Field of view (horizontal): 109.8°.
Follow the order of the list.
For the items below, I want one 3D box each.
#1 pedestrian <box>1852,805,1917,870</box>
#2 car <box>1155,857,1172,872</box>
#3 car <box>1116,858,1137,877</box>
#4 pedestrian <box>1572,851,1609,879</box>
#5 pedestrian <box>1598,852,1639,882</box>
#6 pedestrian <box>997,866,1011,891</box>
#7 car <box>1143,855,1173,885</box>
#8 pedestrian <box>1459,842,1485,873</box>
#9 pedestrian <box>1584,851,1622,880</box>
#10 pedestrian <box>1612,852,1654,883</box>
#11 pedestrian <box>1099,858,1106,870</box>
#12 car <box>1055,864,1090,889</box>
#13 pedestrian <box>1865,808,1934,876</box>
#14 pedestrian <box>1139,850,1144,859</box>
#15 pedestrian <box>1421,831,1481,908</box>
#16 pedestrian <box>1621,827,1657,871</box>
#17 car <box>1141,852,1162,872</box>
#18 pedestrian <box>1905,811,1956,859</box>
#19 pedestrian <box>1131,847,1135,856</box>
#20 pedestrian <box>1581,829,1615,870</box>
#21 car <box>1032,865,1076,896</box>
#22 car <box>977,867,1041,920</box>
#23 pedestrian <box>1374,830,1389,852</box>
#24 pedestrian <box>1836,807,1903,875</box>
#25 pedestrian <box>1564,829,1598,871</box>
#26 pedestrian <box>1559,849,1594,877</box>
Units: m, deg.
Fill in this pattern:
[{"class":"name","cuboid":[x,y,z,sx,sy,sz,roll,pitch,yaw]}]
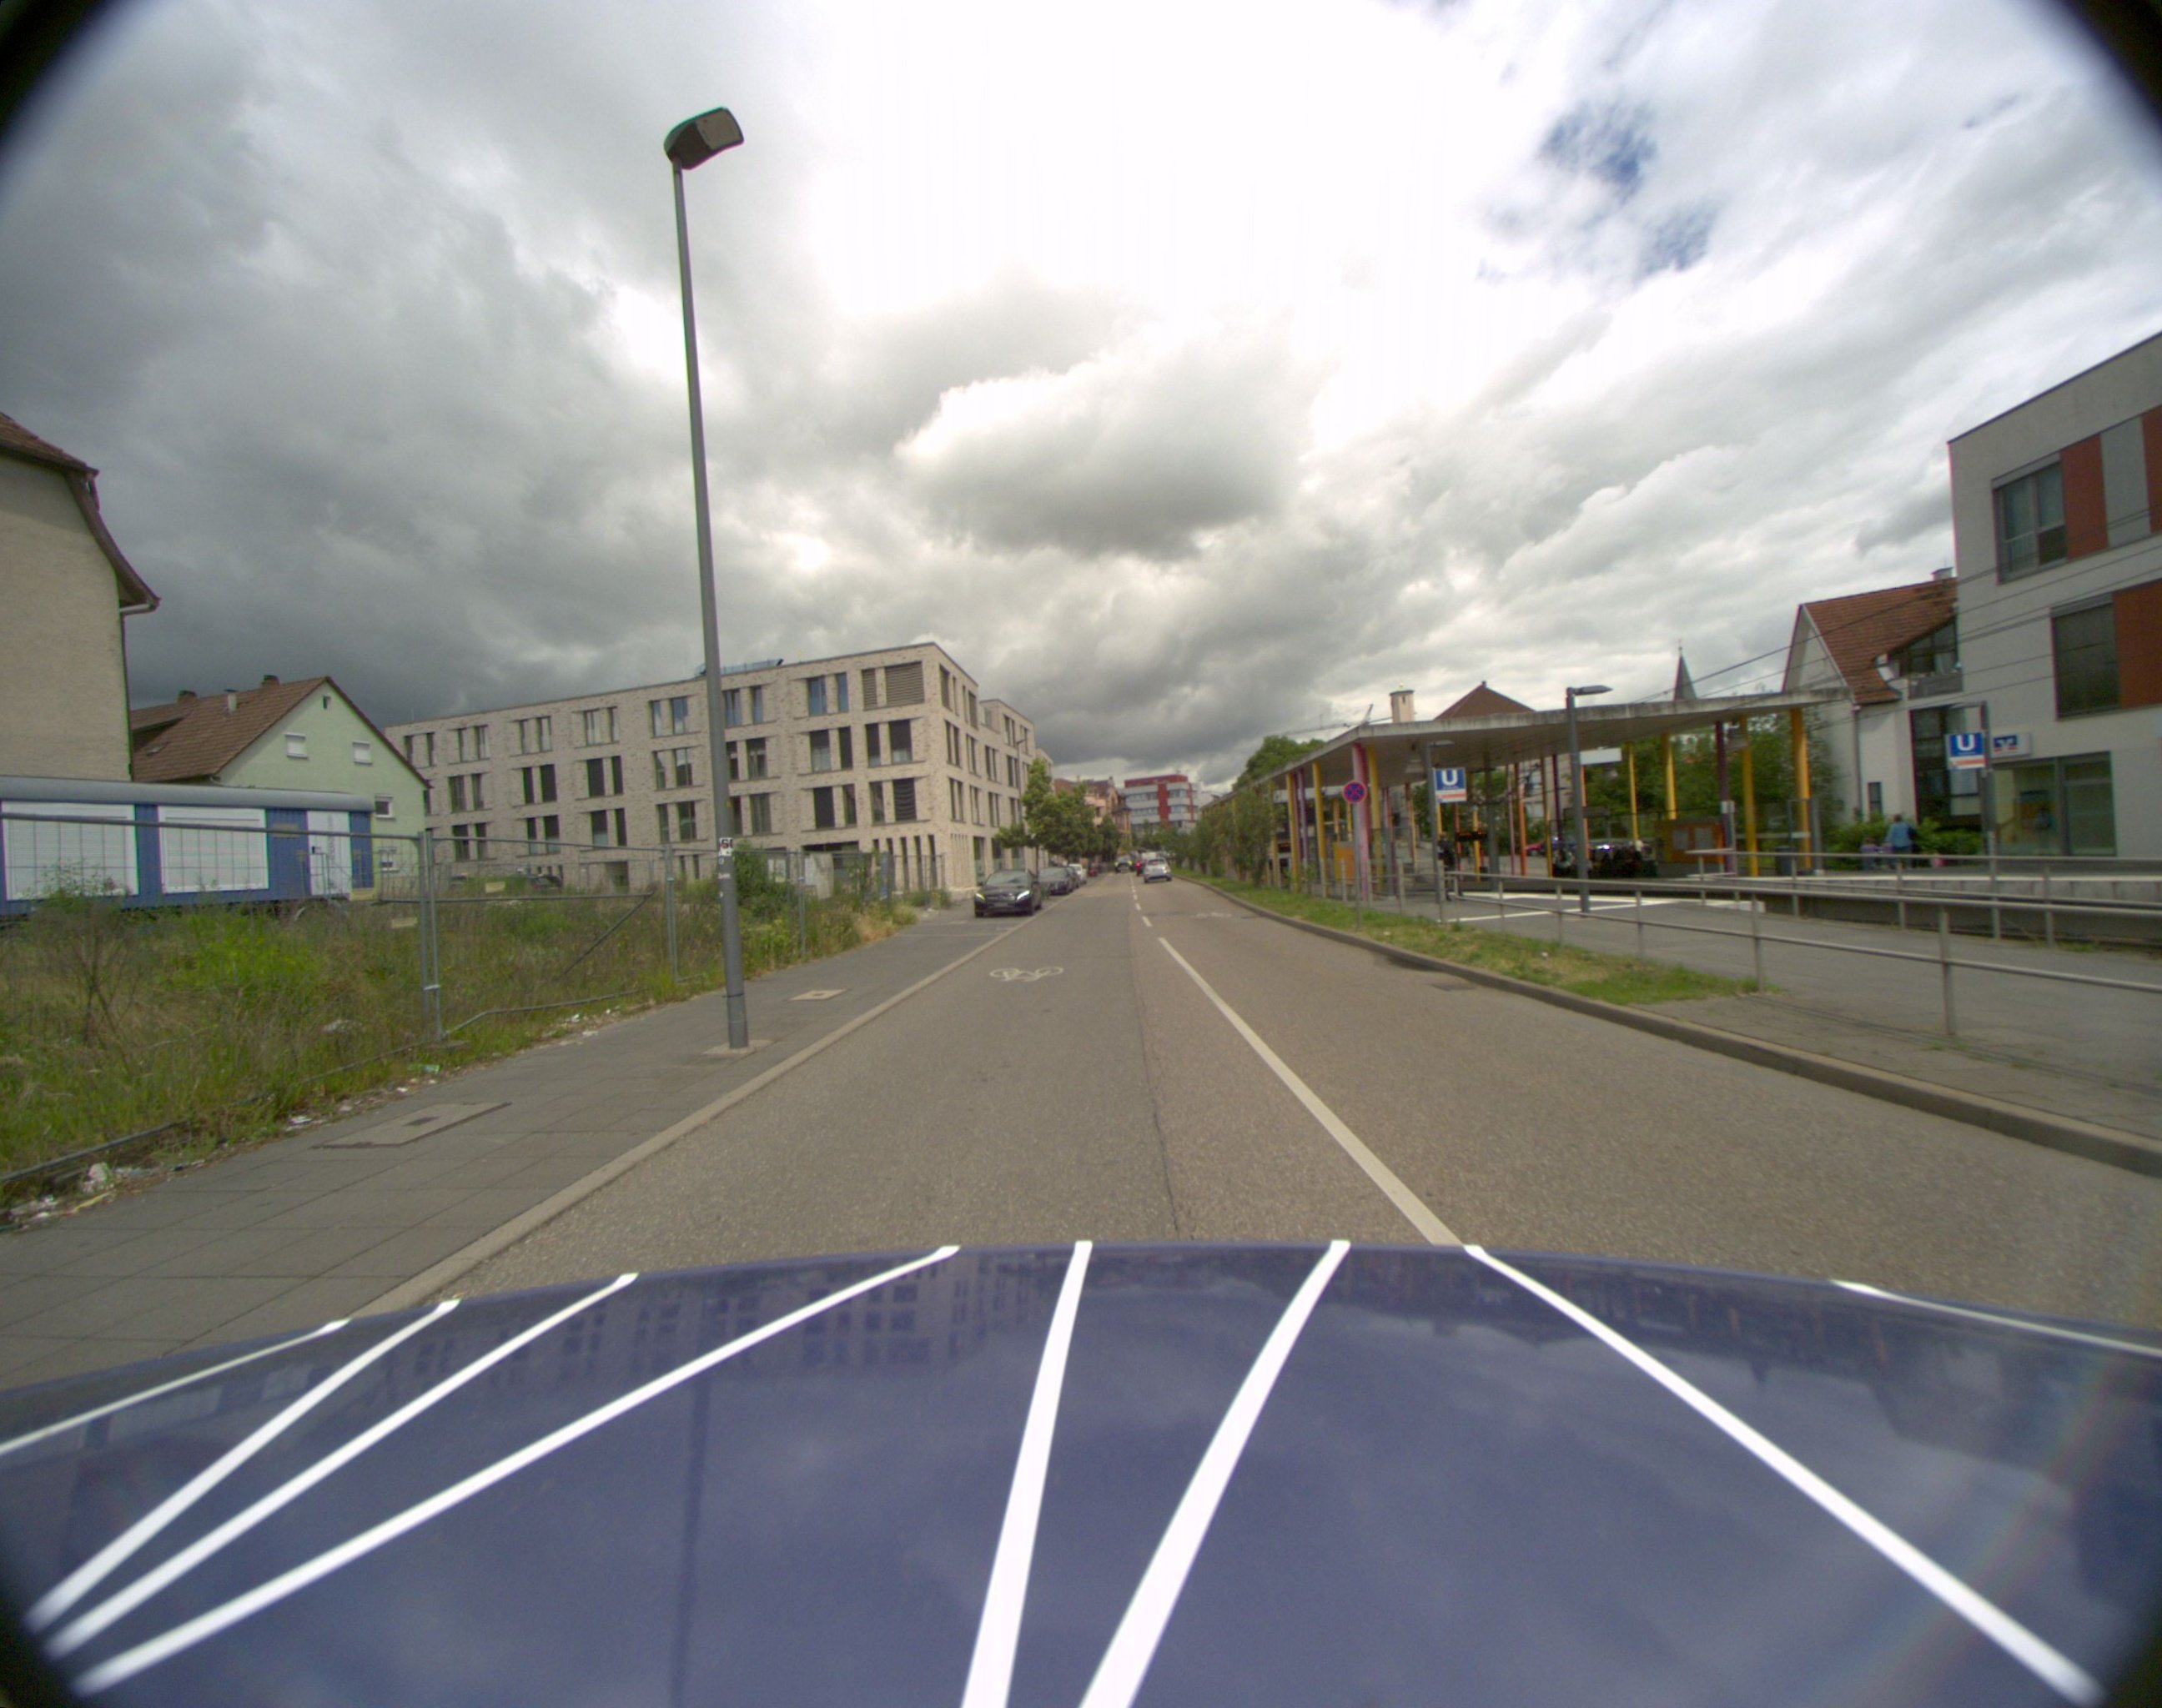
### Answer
[{"class":"pedestrian","cuboid":[25.124,-0.520,23.783,0.863,1.957,1.106,-2,1,8]},{"class":"car","cuboid":[10.727,1.347,98.789,1.866,1.696,4.002,-2,1,10]},{"class":"car","cuboid":[5.153,1.509,85.136,2.003,1.876,5.152,-2,1,6]},{"class":"pedestrian","cuboid":[21.449,0.465,32.024,0.943,1.128,0.886,-3,0,4]},{"class":"pedestrian","cuboid":[21.264,0.494,30.081,0.943,1.128,0.886,-3,0,4]},{"class":"pedestrian","cuboid":[-4.798,1.529,47.220,0.673,1.503,0.783,-3,0,3]},{"class":"car","cuboid":[4.728,0.957,47.179,1.588,1.527,3.947,-6,0,4]},{"class":"pedestrian","cuboid":[26.192,0.203,50.888,1.127,2.002,1.179,-3,0,8]},{"class":"pedestrian","cuboid":[21.316,0.481,31.038,0.943,1.128,0.886,-3,0,4]},{"class":"pedestrian","cuboid":[21.144,0.513,29.139,0.943,1.128,0.886,-3,0,4]},{"class":"pedestrian","cuboid":[2.883,1.351,103.618,0.673,1.503,0.783,-3,0,18]},{"class":"car","cuboid":[-0.489,1.356,46.144,1.677,1.299,3.795,-2,1,5]},{"class":"pedestrian","cuboid":[24.378,-0.360,22.654,0.863,1.957,1.106,-2,1,8]},{"class":"pedestrian","cuboid":[10.516,0.061,131.383,0.673,1.503,0.783,-3,0,13]},{"class":"pedestrian","cuboid":[9.486,0.381,19.525,1.105,1.903,0.865,-2,1,4]},{"class":"pedestrian","cuboid":[25.668,-0.226,34.969,0.864,1.957,1.106,-2,1,5]},{"class":"car","cuboid":[7.849,0.864,84.825,1.997,2.064,4.002,-2,1,9]},{"class":"pedestrian","cuboid":[35.721,-0.787,31.962,1.105,1.957,0.865,-2,1,4]},{"class":"pedestrian","cuboid":[9.041,-0.440,131.420,0.673,1.503,0.783,-3,0,5]},{"class":"pedestrian","cuboid":[24.980,-0.219,36.710,0.864,1.957,1.106,-2,1,1]},{"class":"car","cuboid":[-1.299,1.319,38.265,1.677,1.367,3.796,-3,0,5]},{"class":"car","cuboid":[-2.247,1.221,24.676,1.678,1.415,3.794,-2,1,0]},{"class":"pedestrian","cuboid":[29.423,-1.273,74.451,1.127,2.002,0.816,-3,0,8]},{"class":"pedestrian","cuboid":[23.604,-0.380,22.773,0.863,1.957,1.106,-2,1,8]},{"class":"pedestrian","cuboid":[24.190,-0.190,36.762,0.864,1.957,1.106,-2,1,1]},{"class":"pedestrian","cuboid":[21.529,0.391,33.023,0.943,1.128,0.886,-3,0,4]}]
